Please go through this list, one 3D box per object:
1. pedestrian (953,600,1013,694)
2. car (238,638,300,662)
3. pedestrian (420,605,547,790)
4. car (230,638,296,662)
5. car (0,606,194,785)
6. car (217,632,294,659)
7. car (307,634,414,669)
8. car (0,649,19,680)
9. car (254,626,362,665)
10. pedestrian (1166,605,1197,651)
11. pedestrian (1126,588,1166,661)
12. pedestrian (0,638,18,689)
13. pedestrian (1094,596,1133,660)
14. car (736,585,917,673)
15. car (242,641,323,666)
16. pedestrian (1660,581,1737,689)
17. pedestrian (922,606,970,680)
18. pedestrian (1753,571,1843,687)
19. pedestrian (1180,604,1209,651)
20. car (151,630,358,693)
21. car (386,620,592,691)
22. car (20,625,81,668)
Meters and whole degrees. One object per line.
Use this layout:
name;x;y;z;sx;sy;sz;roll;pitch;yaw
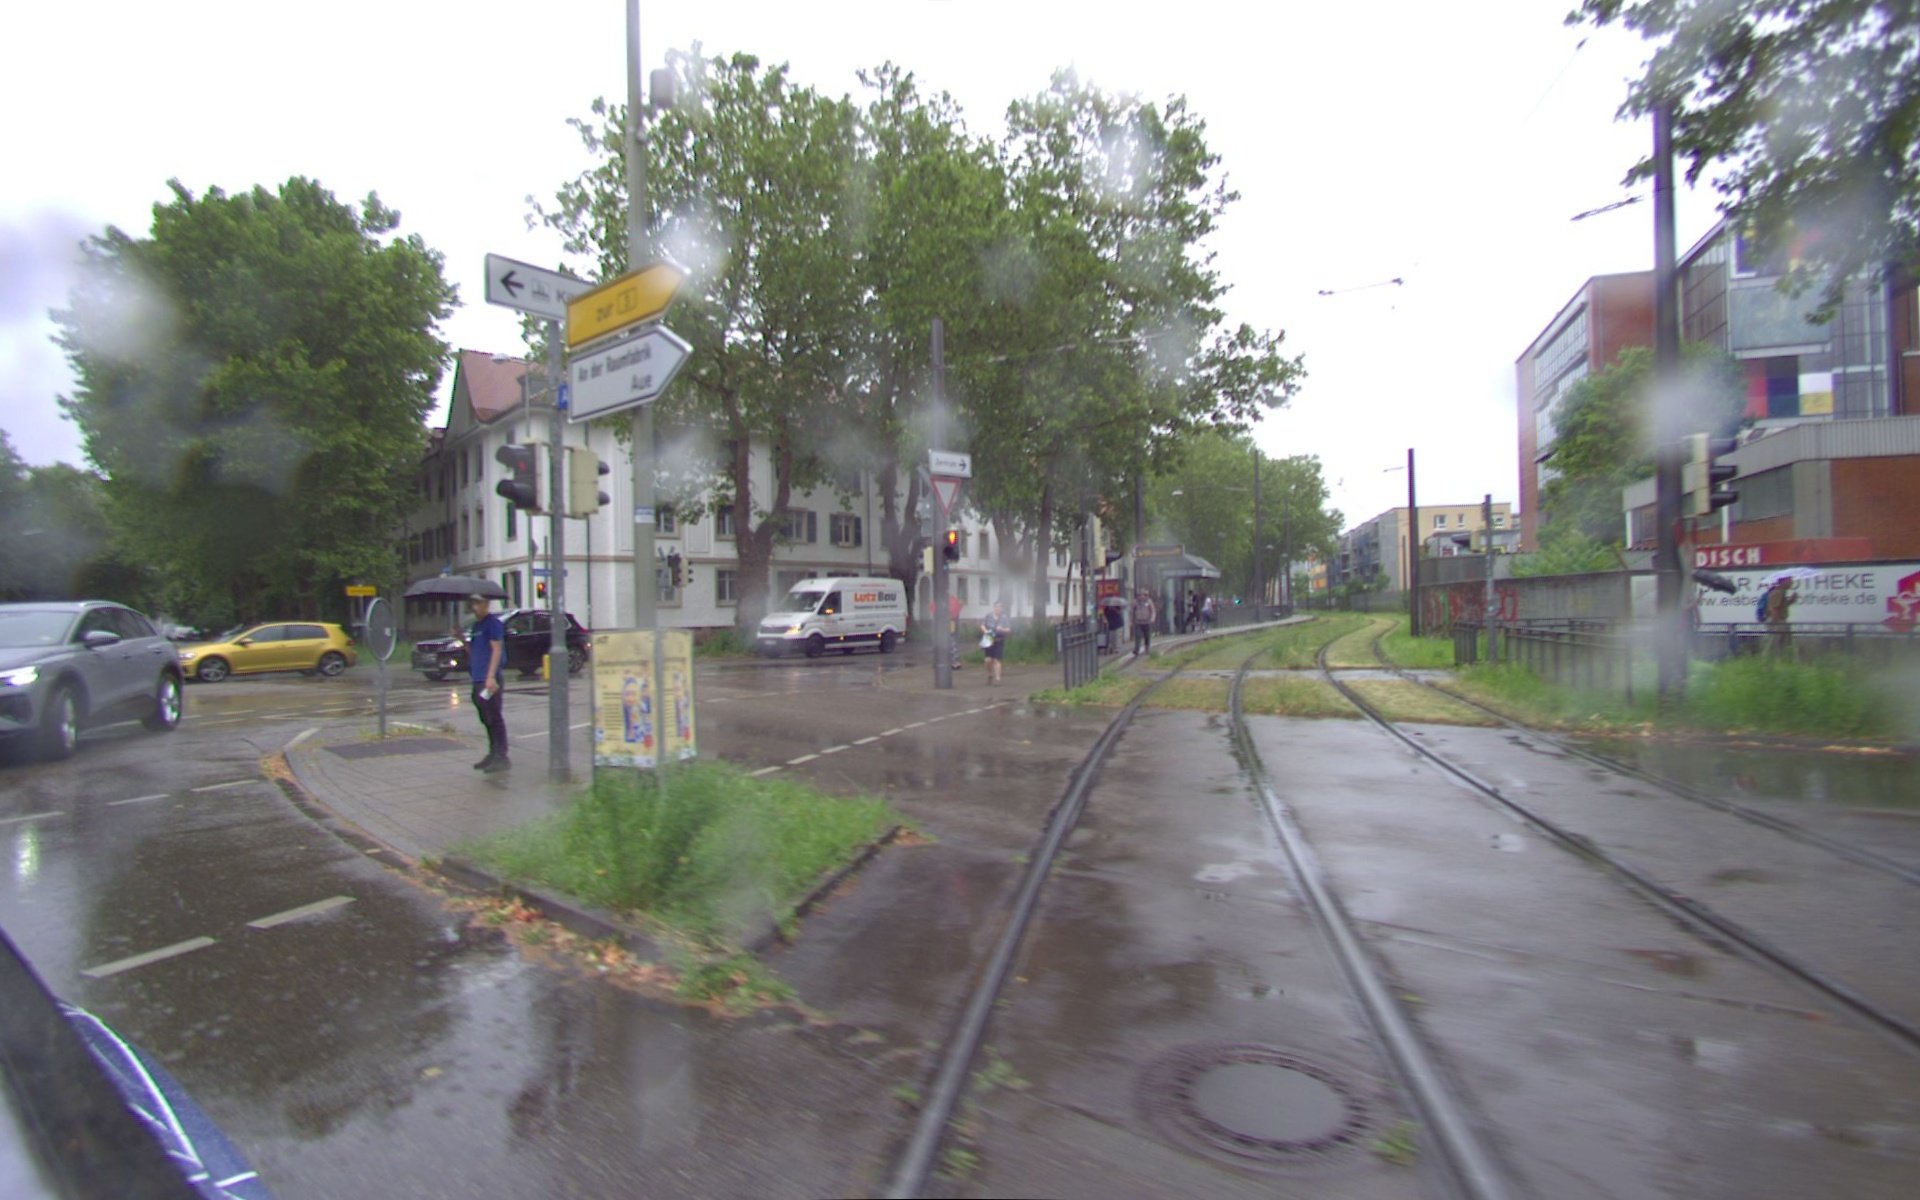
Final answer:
pedestrian;0.431;0.874;18.842;0.854;1.701;0.843;-2;-2;22
car;-51.704;3.726;75.742;3.663;1.703;1.941;1;-3;-39
pedestrian;-4.355;0.858;9.272;0.641;1.593;0.853;-3;-3;34
car;-53.335;3.796;77.508;4.045;1.703;1.831;1;-3;-39
car;-10.195;0.938;10.997;1.779;1.633;4.150;-1;-1;-19
car;-57.588;3.716;82.744;5.008;2.039;2.037;1;-3;-39
car;-27.601;2.356;46.623;3.939;1.364;1.799;-1;-1;-43
car;-47.084;3.138;48.992;1.793;1.471;4.281;-1;-2;-37
car;-34.189;2.371;53.140;4.597;1.888;2.037;1;-3;-39
pedestrian;8.804;1.097;40.265;0.847;1.800;0.850;1;-3;-43
pedestrian;4.880;0.655;26.526;0.854;1.846;0.843;-2;-3;22
pedestrian;-39.807;2.623;41.959;0.928;2.078;1.083;1;-3;-35
pedestrian;4.210;0.772;27.669;0.854;1.701;0.843;-2;-2;22
car;-4.186;0.887;33.210;2.277;2.582;6.440;-3;-1;32
car;-46.348;3.665;69.237;4.457;1.582;2.037;1;-3;-39
pedestrian;13.241;0.639;18.183;0.843;1.876;0.948;-2;-2;23
pedestrian;-0.321;1.000;23.623;0.843;1.701;0.853;-2;-2;23
pedestrian;14.052;0.489;17.003;0.843;1.876;0.948;-2;-2;23
pedestrian;9.487;1.114;41.028;0.847;1.839;0.850;-1;-2;-7
car;-17.942;1.522;25.878;1.997;1.378;3.949;-3;-1;38
car;-10.572;1.207;22.993;1.846;1.455;3.961;-2;-2;28
car;-56.027;2.880;62.421;2.364;2.494;5.703;1;-3;-38
